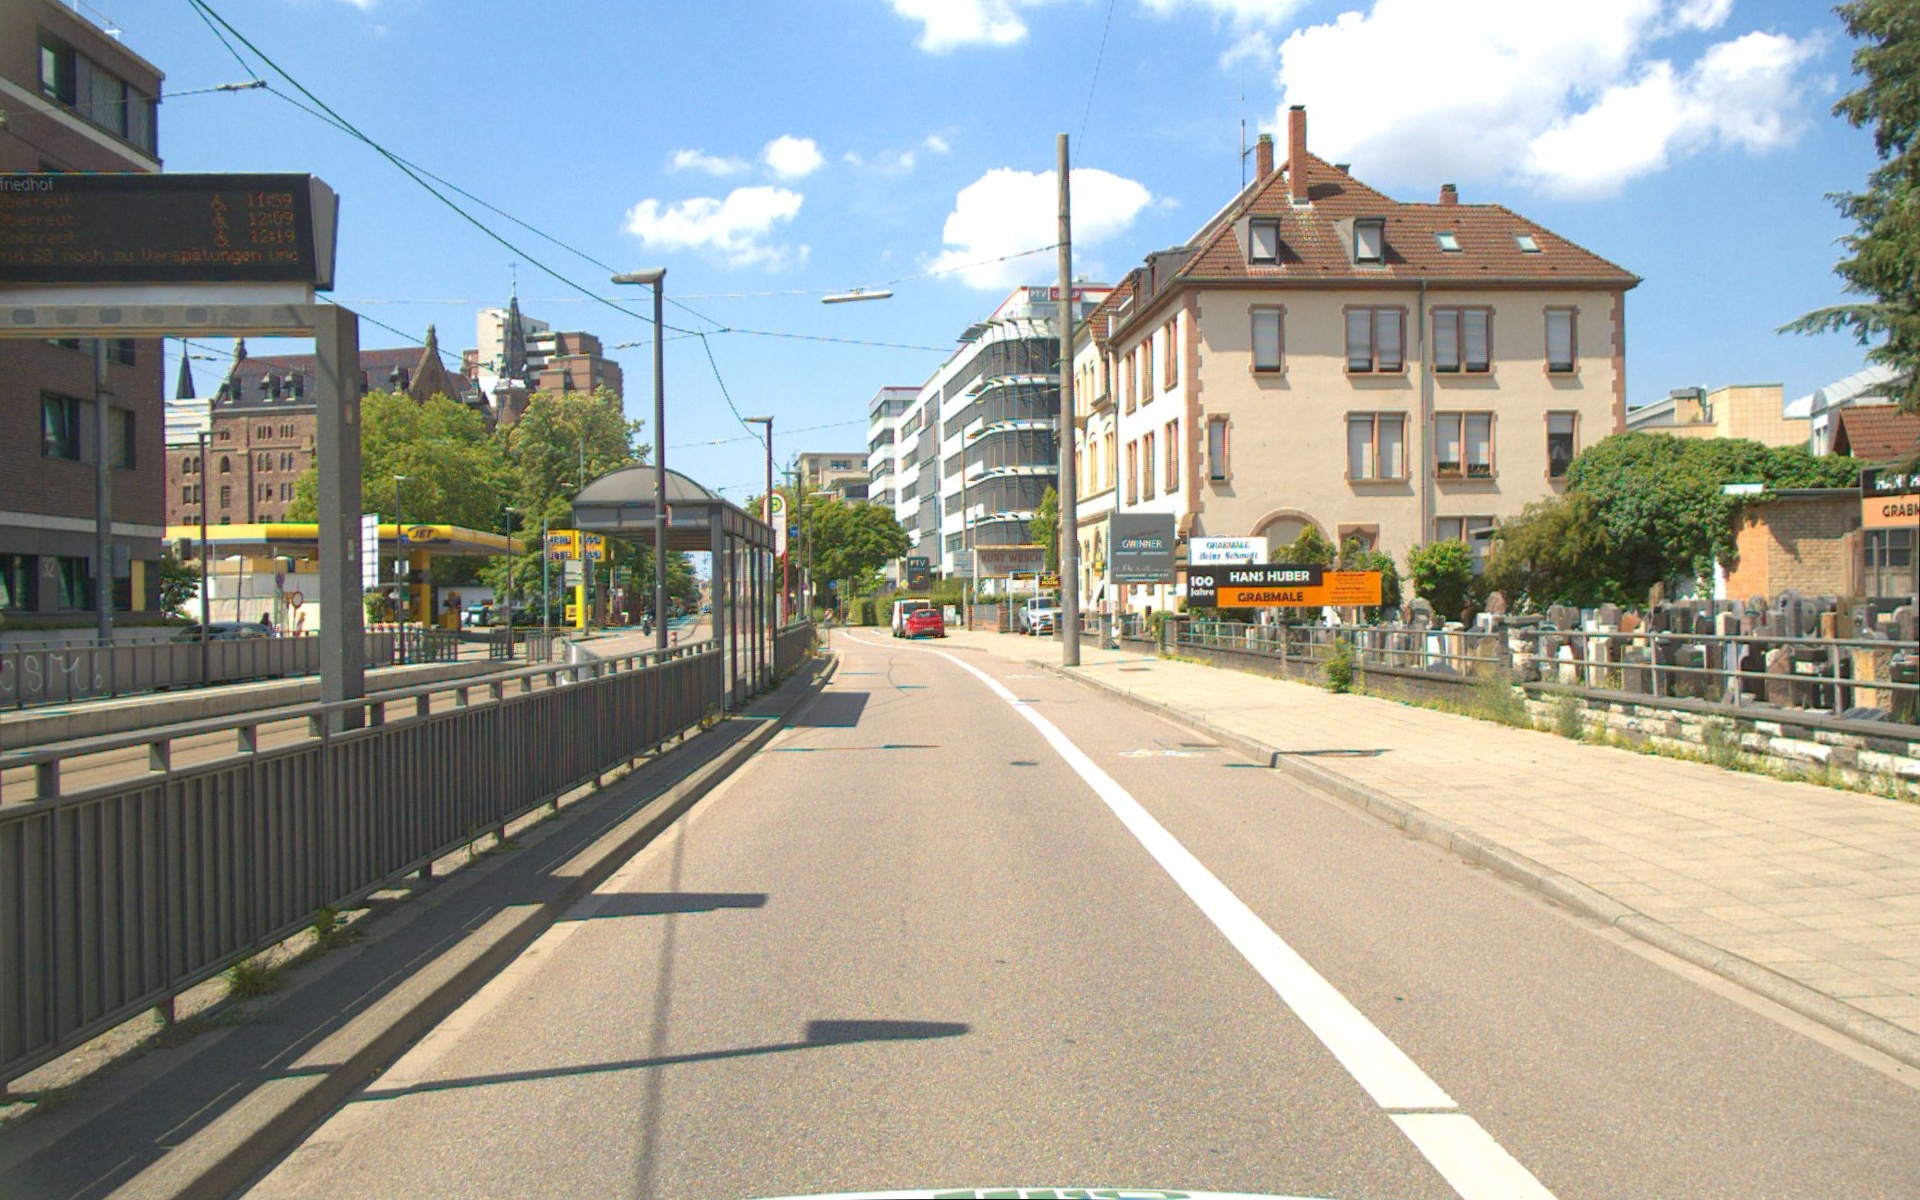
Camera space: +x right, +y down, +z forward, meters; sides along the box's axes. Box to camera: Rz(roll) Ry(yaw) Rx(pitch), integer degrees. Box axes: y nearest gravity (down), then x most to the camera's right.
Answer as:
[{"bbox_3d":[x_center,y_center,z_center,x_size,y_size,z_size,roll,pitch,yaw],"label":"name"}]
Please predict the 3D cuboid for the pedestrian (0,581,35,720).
[{"bbox_3d":[-12.777,0.664,21.715,0.671,1.791,1.033,-1,0,-2],"label":"pedestrian"}]

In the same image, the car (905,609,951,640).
[{"bbox_3d":[-1.637,1.221,83.385,1.955,1.467,4.011,-1,0,-7],"label":"car"}]

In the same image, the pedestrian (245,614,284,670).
[{"bbox_3d":[-20.850,1.243,49.615,0.745,1.624,0.999,3,-1,-6],"label":"pedestrian"}]

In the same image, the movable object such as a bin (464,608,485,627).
[{"bbox_3d":[-35.694,1.250,121.569,1.316,1.378,0.758,-1,0,3],"label":"movable object such as a bin"}]

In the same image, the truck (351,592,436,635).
[{"bbox_3d":[-34.271,0.841,100.193,1.953,2.542,5.203,-1,-1,21],"label":"truck"}]

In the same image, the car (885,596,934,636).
[{"bbox_3d":[-2.774,0.852,90.093,1.957,2.026,5.503,-3,0,-8],"label":"car"}]

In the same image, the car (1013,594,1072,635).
[{"bbox_3d":[3.648,0.654,73.797,1.842,1.652,4.633,-4,0,-6],"label":"car"}]

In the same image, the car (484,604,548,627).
[{"bbox_3d":[-32.638,1.105,121.671,1.959,1.618,4.318,-1,0,35],"label":"car"}]

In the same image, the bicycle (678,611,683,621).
[{"bbox_3d":[-37.974,2.185,224.778,0.688,1.225,2.235,-3,0,-9],"label":"bicycle"}]
